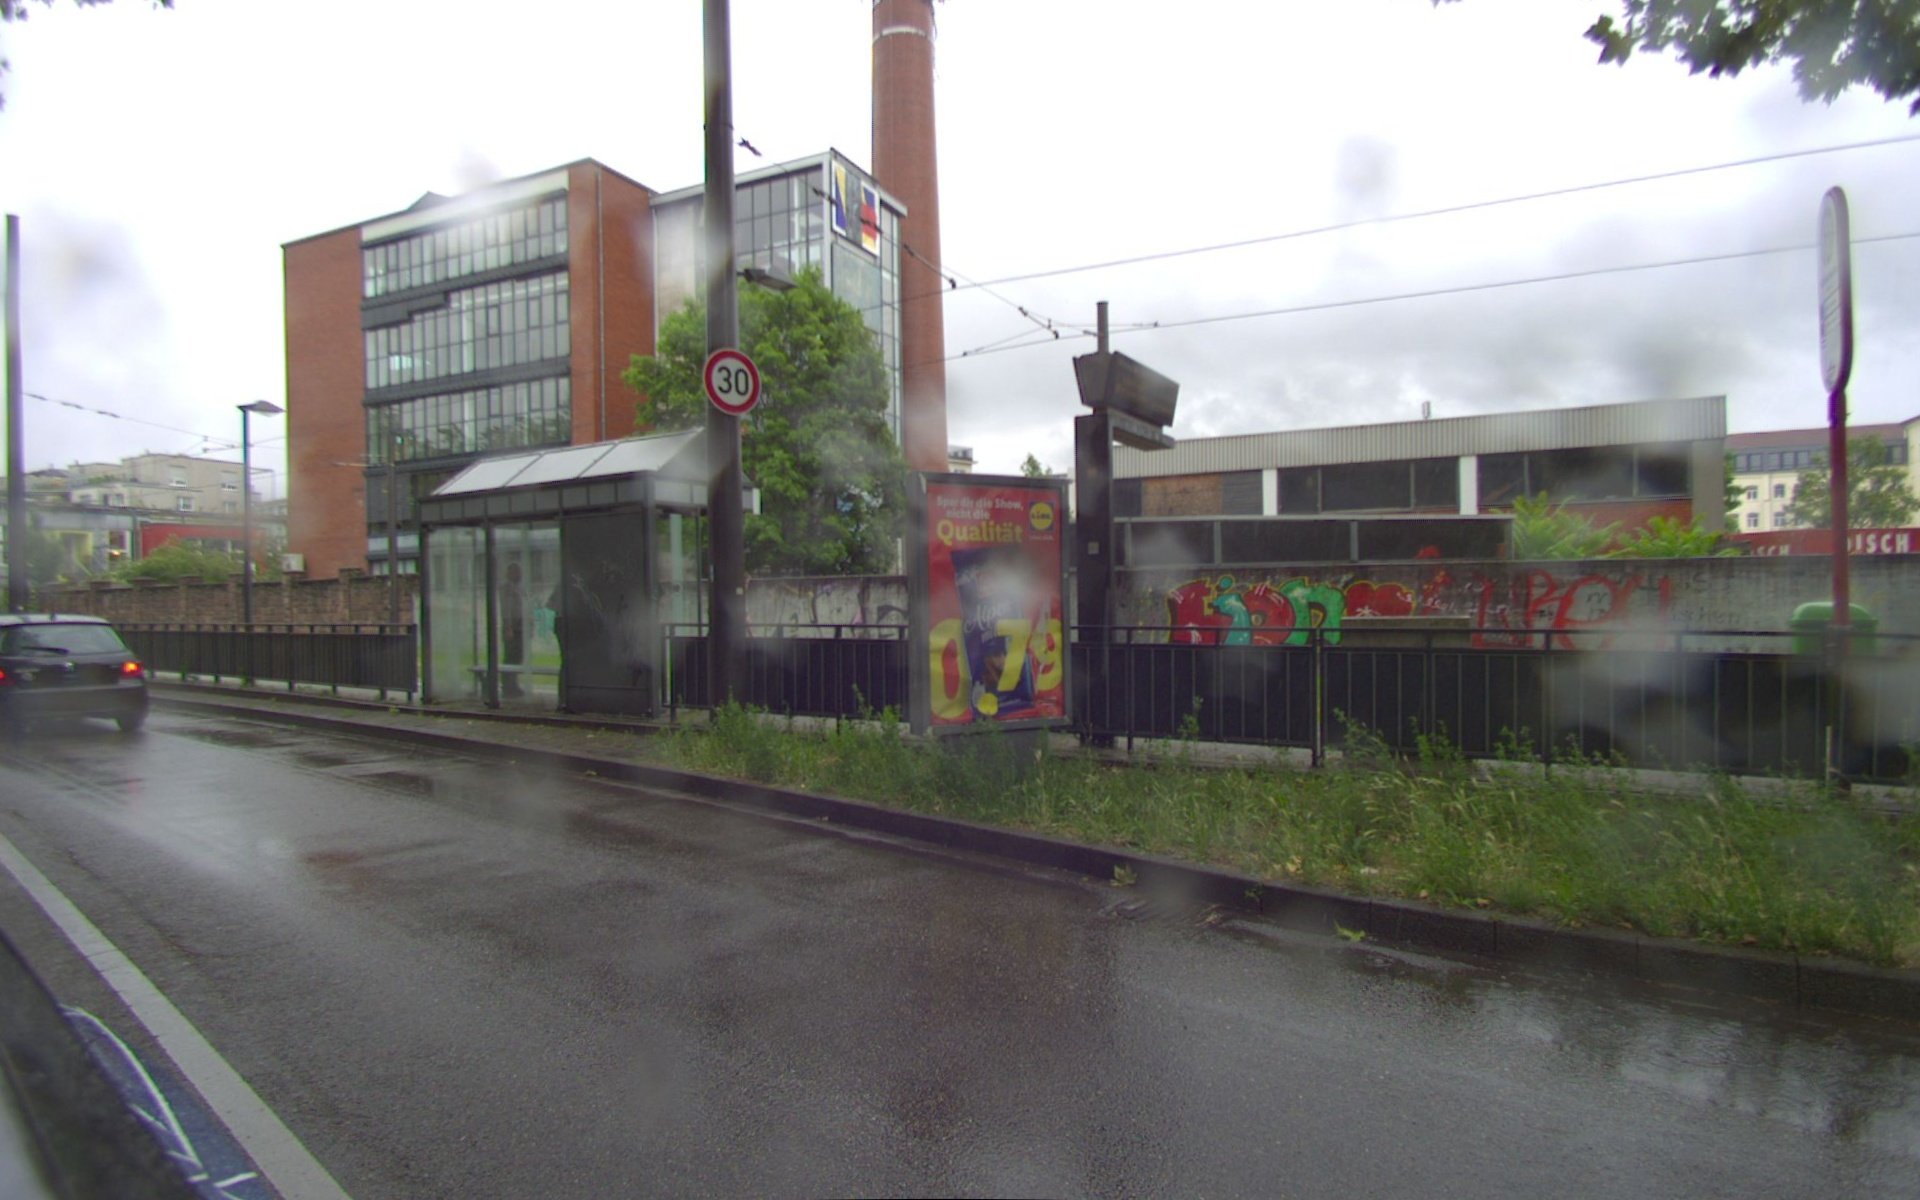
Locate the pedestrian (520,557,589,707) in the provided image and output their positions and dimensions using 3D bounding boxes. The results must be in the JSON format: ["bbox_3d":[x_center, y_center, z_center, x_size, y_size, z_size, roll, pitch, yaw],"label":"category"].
[{"bbox_3d":[-4.920,0.376,12.279,0.620,1.762,0.565,-1,0,-41],"label":"pedestrian"}]

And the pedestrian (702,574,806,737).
[{"bbox_3d":[-2.414,0.625,11.874,0.841,1.818,0.819,-1,0,30],"label":"pedestrian"}]

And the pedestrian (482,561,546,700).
[{"bbox_3d":[-5.813,0.388,13.189,0.620,1.762,0.515,-1,0,-41],"label":"pedestrian"}]

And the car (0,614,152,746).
[{"bbox_3d":[-12.122,0.942,13.021,3.739,1.470,1.699,-1,0,35],"label":"car"}]
